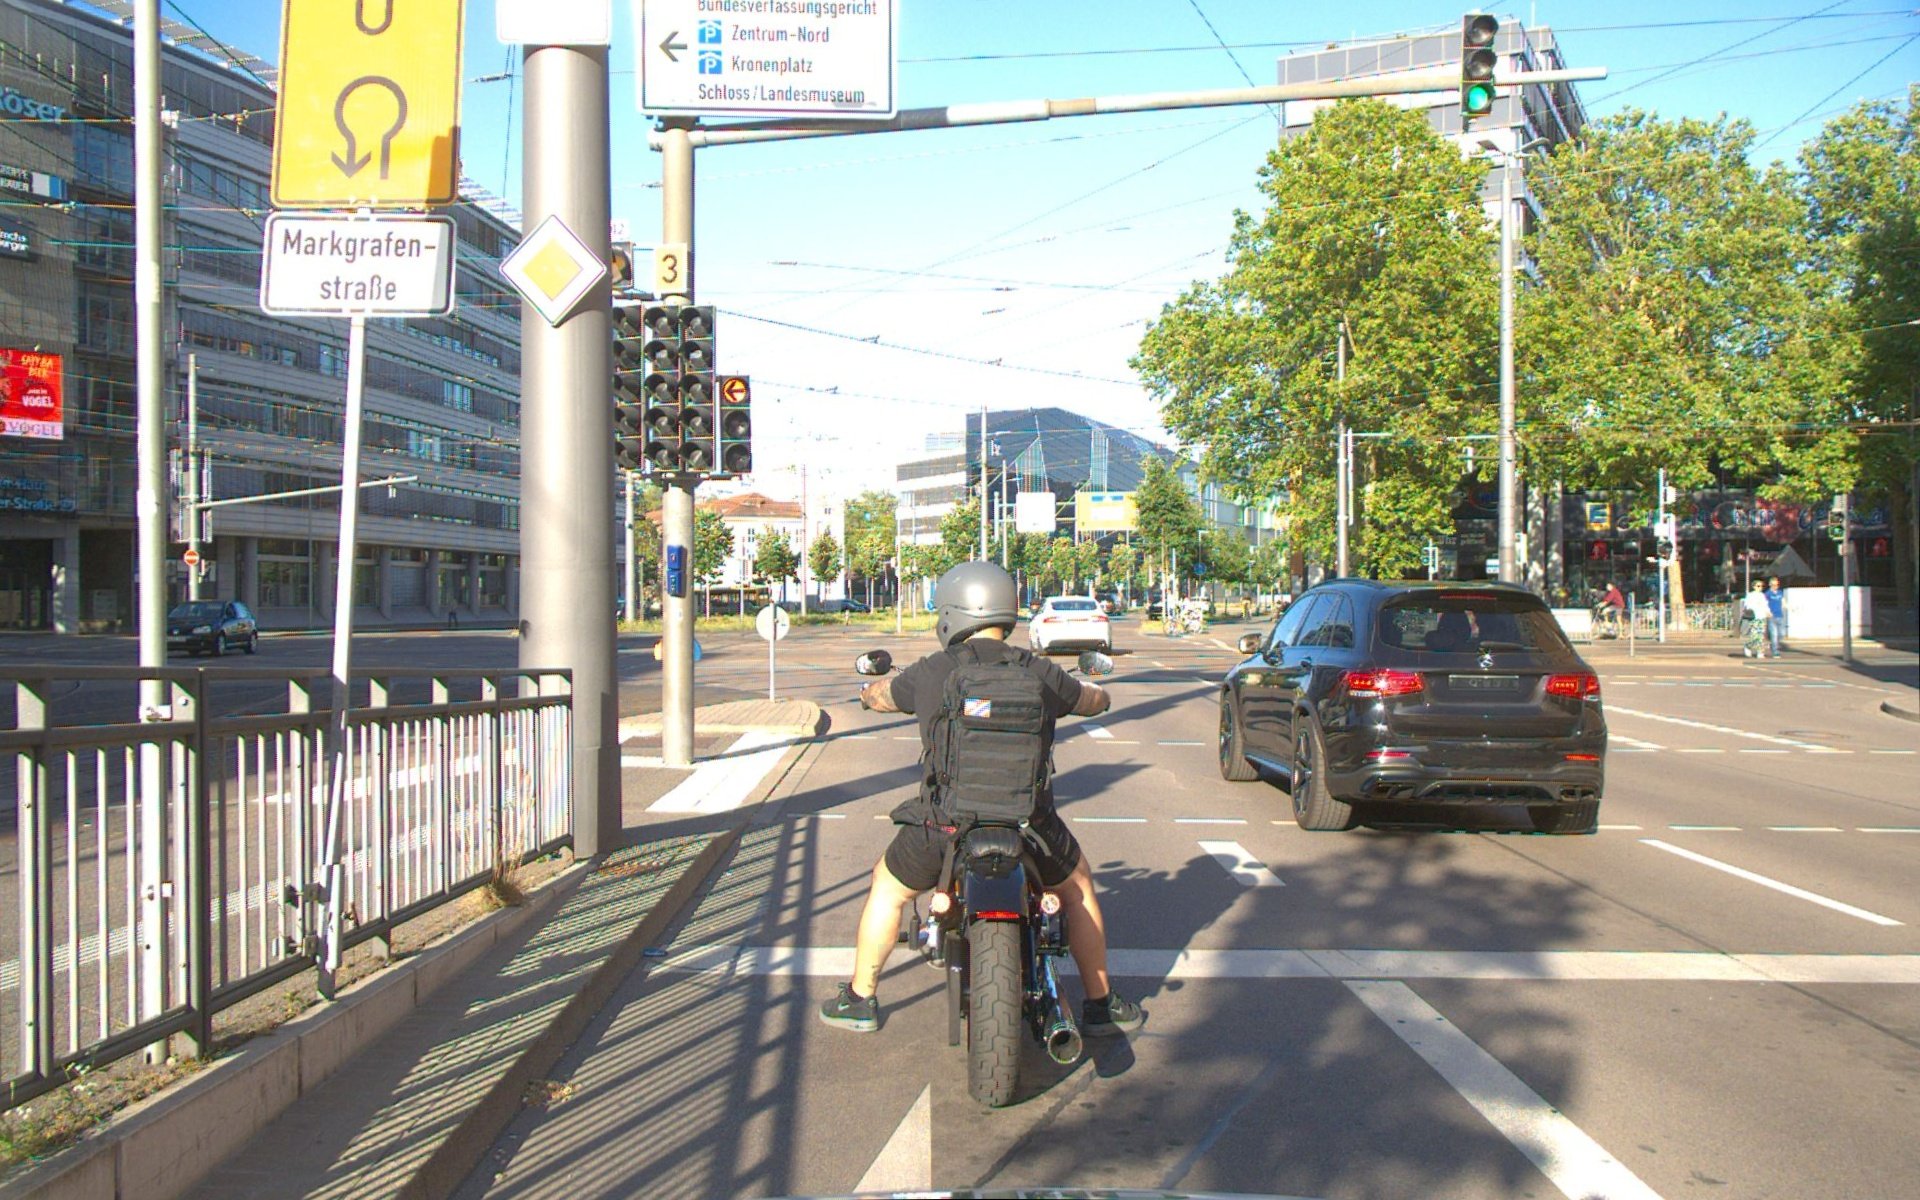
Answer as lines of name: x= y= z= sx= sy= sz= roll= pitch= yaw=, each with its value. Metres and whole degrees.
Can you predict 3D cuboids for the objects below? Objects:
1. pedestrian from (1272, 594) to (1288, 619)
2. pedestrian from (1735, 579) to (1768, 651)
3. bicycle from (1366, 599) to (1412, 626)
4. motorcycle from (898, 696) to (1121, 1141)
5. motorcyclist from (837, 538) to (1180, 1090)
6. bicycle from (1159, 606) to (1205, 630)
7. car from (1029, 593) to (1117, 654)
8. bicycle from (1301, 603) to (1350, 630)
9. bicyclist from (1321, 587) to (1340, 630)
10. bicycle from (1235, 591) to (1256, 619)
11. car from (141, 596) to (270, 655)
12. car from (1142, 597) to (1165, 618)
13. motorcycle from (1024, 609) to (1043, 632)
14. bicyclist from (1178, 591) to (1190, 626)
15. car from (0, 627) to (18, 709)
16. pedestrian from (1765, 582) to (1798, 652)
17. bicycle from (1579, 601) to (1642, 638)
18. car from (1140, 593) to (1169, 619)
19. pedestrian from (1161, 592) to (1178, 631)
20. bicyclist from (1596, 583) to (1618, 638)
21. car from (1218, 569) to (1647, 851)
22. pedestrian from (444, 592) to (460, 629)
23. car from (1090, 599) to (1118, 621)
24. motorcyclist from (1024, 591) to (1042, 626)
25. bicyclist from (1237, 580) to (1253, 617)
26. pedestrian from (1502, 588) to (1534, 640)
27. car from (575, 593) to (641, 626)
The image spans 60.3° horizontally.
pedestrian: x=17.570 y=0.365 z=90.884 sx=0.802 sy=1.337 sz=0.638 roll=1 pitch=-1 yaw=8
pedestrian: x=17.299 y=0.323 z=36.162 sx=0.554 sy=1.559 sz=0.702 roll=1 pitch=-1 yaw=20
bicycle: x=18.084 y=0.527 z=69.759 sx=1.842 sy=1.064 sz=0.360 roll=1 pitch=0 yaw=-2
motorcycle: x=0.117 y=0.929 z=5.602 sx=0.588 sy=1.054 sz=2.233 roll=1 pitch=0 yaw=-1
motorcyclist: x=0.138 y=0.626 z=5.316 sx=1.009 sy=1.621 sz=0.873 roll=0 pitch=0 yaw=-1
bicycle: x=9.017 y=0.718 z=67.190 sx=1.792 sy=0.942 sz=0.357 roll=1 pitch=-1 yaw=-9
car: x=2.803 y=0.549 z=41.751 sx=1.767 sy=1.455 sz=4.451 roll=0 pitch=0 yaw=-2
bicycle: x=14.449 y=0.668 z=65.428 sx=1.831 sy=1.062 sz=0.537 roll=0 pitch=-1 yaw=18
bicyclist: x=14.645 y=0.345 z=65.376 sx=0.673 sy=1.702 sz=0.541 roll=0 pitch=-1 yaw=18
bicycle: x=14.401 y=0.276 z=83.518 sx=0.710 sy=1.391 sz=2.918 roll=1 pitch=-1 yaw=3
car: x=-20.161 y=0.674 z=44.406 sx=1.789 sy=1.455 sz=4.236 roll=1 pitch=-1 yaw=-5
car: x=17.534 y=0.687 z=149.719 sx=1.692 sy=1.870 sz=3.578 roll=1 pitch=-1 yaw=12
motorcycle: x=3.429 y=0.953 z=77.125 sx=0.787 sy=1.069 sz=2.377 roll=1 pitch=-1 yaw=5
bicyclist: x=9.116 y=0.353 z=67.205 sx=0.374 sy=1.397 sz=0.344 roll=1 pitch=-1 yaw=-9
car: x=-14.516 y=0.902 z=22.430 sx=2.835 sy=1.081 sz=1.235 roll=1 pitch=-1 yaw=-22
pedestrian: x=17.933 y=0.377 z=36.120 sx=0.554 sy=1.505 sz=0.702 roll=1 pitch=-1 yaw=20
bicycle: x=22.386 y=0.680 z=56.913 sx=2.001 sy=1.235 sz=0.421 roll=1 pitch=-1 yaw=-1
car: x=13.958 y=0.395 z=118.563 sx=1.694 sy=1.762 sz=4.616 roll=1 pitch=1 yaw=11
pedestrian: x=8.742 y=0.487 z=68.908 sx=0.576 sy=1.584 sz=0.488 roll=1 pitch=-1 yaw=-9
bicyclist: x=22.266 y=0.364 z=56.921 sx=0.572 sy=1.870 sz=0.402 roll=1 pitch=-1 yaw=-1
car: x=3.161 y=0.650 z=12.063 sx=1.767 sy=1.623 sz=4.452 roll=2 pitch=0 yaw=-1
pedestrian: x=-28.231 y=0.599 z=91.866 sx=0.617 sy=2.049 sz=0.754 roll=1 pitch=-1 yaw=-1
car: x=11.342 y=0.798 z=130.004 sx=1.765 sy=1.708 sz=4.044 roll=1 pitch=-1 yaw=11
motorcyclist: x=3.403 y=0.417 z=76.910 sx=0.779 sy=1.607 sz=0.529 roll=1 pitch=-1 yaw=5
bicyclist: x=14.377 y=-0.075 z=83.338 sx=0.682 sy=1.840 sz=0.729 roll=1 pitch=-1 yaw=3
pedestrian: x=19.053 y=0.482 z=56.500 sx=0.816 sy=1.734 sz=0.759 roll=1 pitch=-1 yaw=-1
car: x=-17.161 y=0.458 z=80.756 sx=1.712 sy=1.550 sz=4.003 roll=1 pitch=-1 yaw=11
